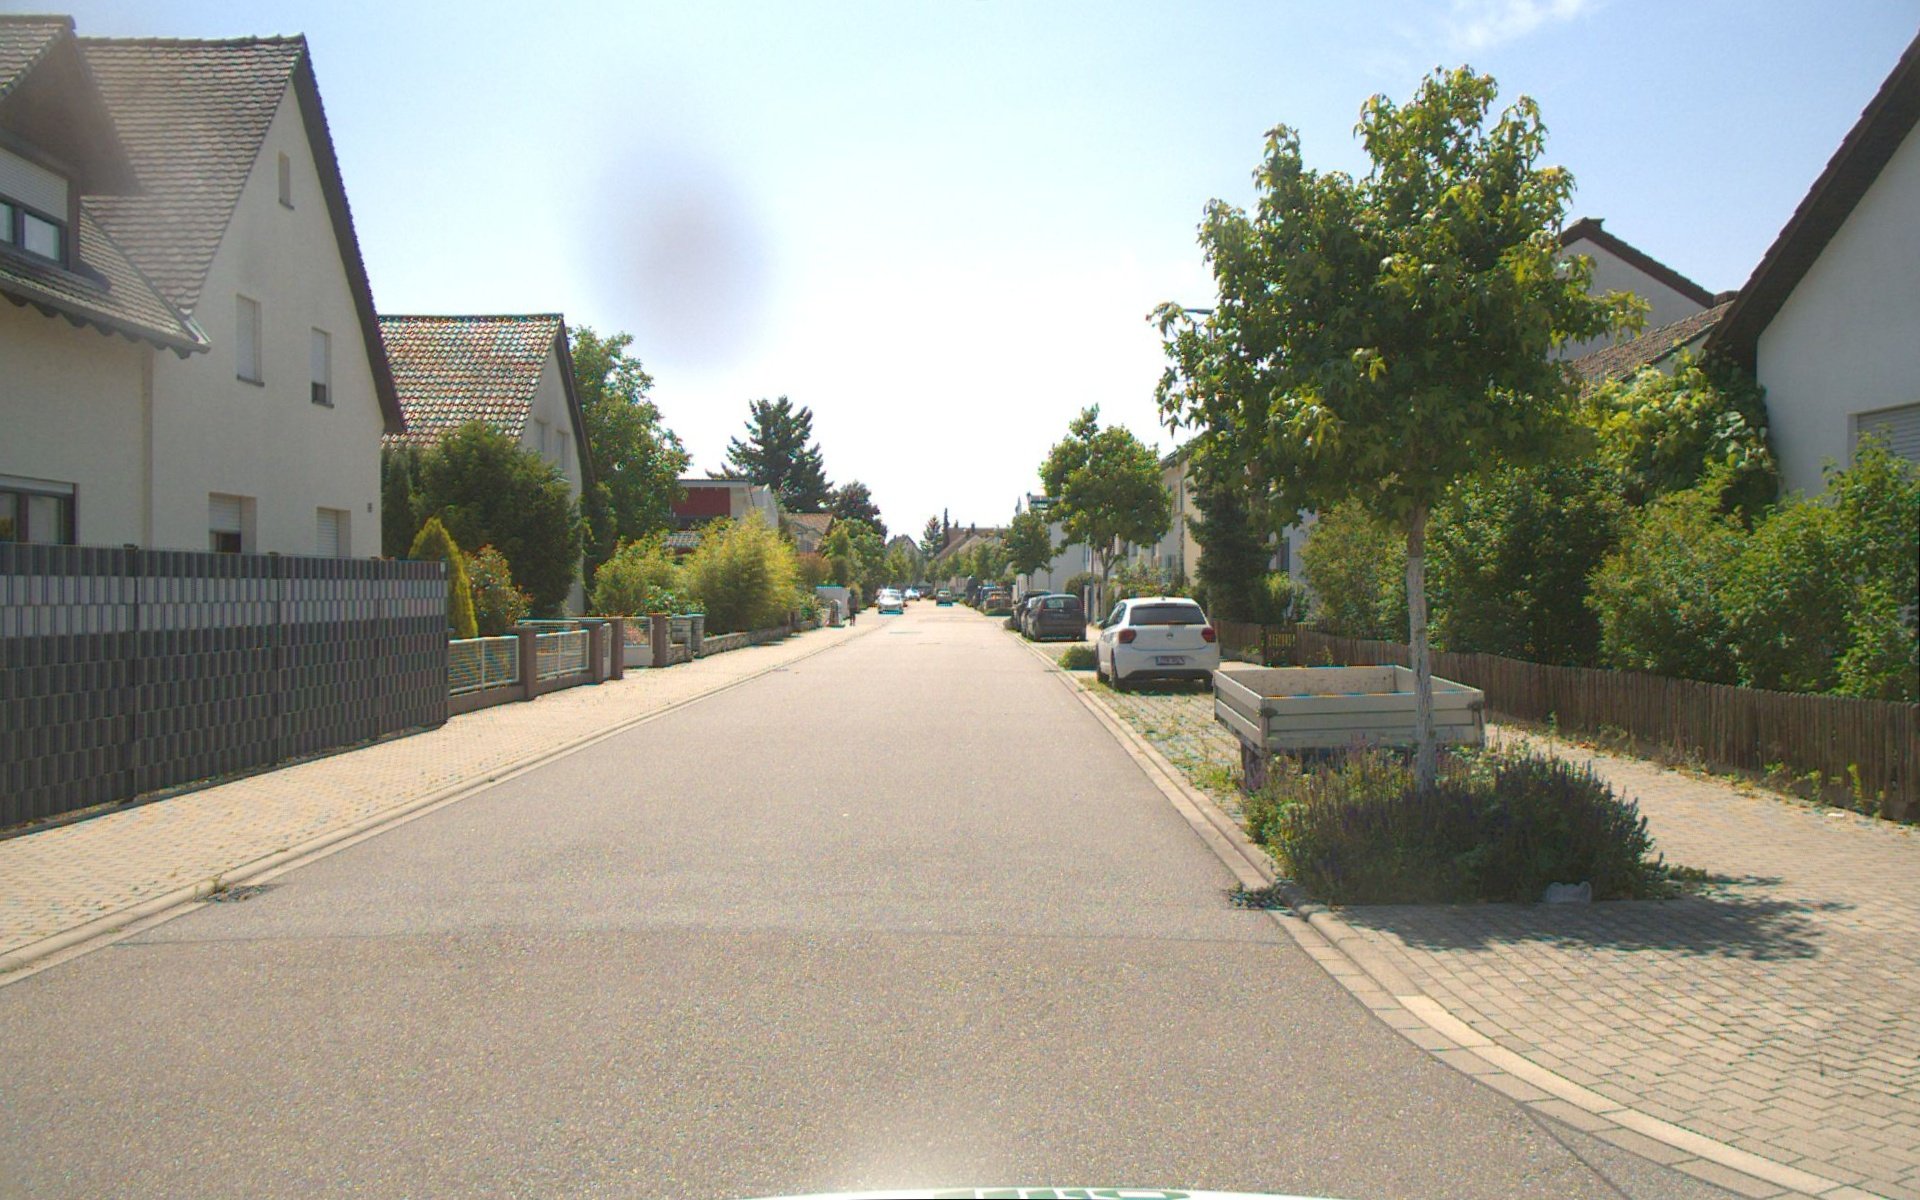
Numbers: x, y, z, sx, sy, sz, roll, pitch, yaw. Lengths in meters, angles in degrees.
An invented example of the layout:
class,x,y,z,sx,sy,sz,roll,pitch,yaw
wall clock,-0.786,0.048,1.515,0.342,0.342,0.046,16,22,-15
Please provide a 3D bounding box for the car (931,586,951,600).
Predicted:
class,x,y,z,sx,sy,sz,roll,pitch,yaw
car,-1.960,-0.709,169.078,1.952,1.455,4.001,0,0,1

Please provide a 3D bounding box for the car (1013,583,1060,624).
class,x,y,z,sx,sy,sz,roll,pitch,yaw
car,3.196,0.120,70.060,1.777,1.685,4.564,0,1,0

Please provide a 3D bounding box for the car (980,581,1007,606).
class,x,y,z,sx,sy,sz,roll,pitch,yaw
car,2.625,-0.505,130.060,2.056,1.915,4.842,0,0,0

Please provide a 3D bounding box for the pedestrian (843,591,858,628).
class,x,y,z,sx,sy,sz,roll,pitch,yaw
pedestrian,-5.352,0.464,80.879,0.700,1.778,0.960,0,0,-1

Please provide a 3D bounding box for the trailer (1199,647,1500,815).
class,x,y,z,sx,sy,sz,roll,pitch,yaw
trailer,2.957,0.969,13.119,1.751,1.077,2.899,0,0,1

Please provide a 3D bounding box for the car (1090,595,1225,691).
class,x,y,z,sx,sy,sz,roll,pitch,yaw
car,3.197,0.654,27.380,1.777,1.445,3.868,0,0,0

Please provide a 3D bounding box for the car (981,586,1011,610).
class,x,y,z,sx,sy,sz,roll,pitch,yaw
car,2.451,-0.144,113.255,1.738,1.623,4.276,0,0,-3

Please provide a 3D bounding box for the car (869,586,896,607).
class,x,y,z,sx,sy,sz,roll,pitch,yaw
car,-5.689,-0.233,121.759,1.814,1.514,4.385,0,0,-1

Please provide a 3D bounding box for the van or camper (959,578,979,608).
class,x,y,z,sx,sy,sz,roll,pitch,yaw
van or camper,0.896,-0.691,169.149,1.953,2.993,3.999,0,0,-1

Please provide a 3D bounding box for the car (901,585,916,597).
class,x,y,z,sx,sy,sz,roll,pitch,yaw
car,-6.743,-1.207,217.542,1.814,1.504,4.700,0,0,1

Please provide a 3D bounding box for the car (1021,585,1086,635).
class,x,y,z,sx,sy,sz,roll,pitch,yaw
car,3.048,0.309,54.789,1.707,1.560,4.447,0,0,-3

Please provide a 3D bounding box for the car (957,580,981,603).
class,x,y,z,sx,sy,sz,roll,pitch,yaw
car,0.775,-0.733,144.348,1.953,1.981,5.214,0,0,-1
